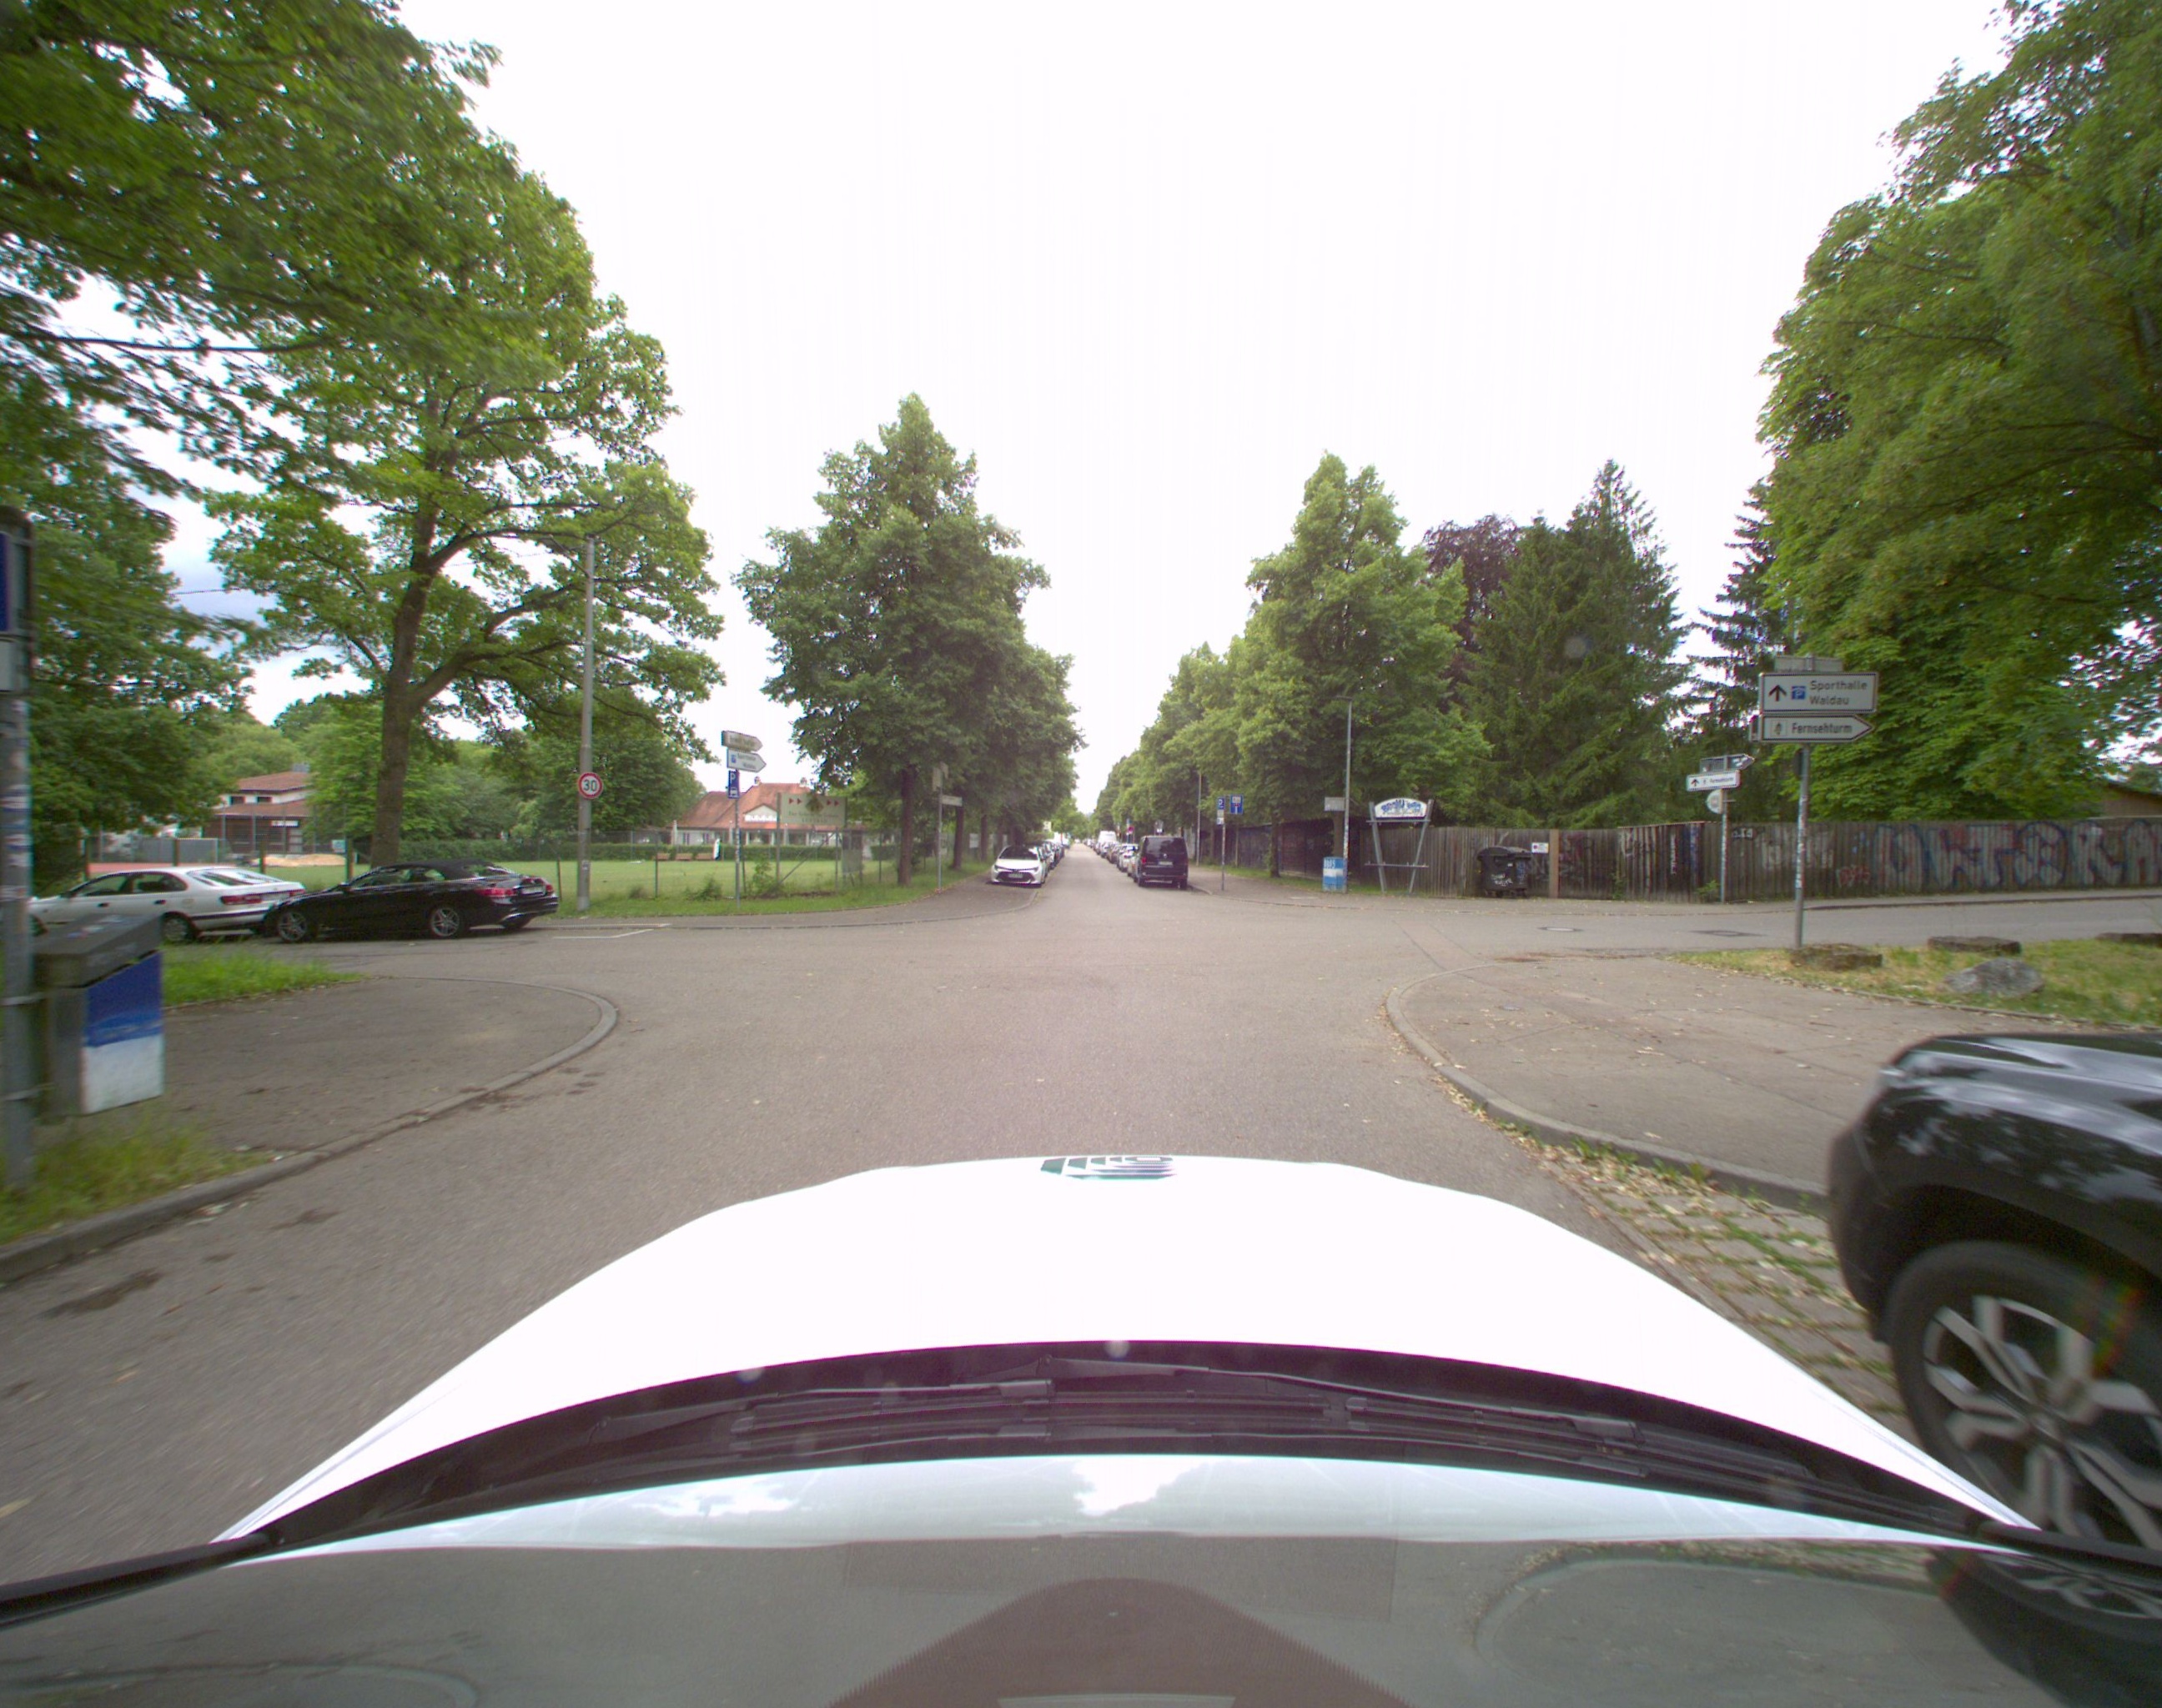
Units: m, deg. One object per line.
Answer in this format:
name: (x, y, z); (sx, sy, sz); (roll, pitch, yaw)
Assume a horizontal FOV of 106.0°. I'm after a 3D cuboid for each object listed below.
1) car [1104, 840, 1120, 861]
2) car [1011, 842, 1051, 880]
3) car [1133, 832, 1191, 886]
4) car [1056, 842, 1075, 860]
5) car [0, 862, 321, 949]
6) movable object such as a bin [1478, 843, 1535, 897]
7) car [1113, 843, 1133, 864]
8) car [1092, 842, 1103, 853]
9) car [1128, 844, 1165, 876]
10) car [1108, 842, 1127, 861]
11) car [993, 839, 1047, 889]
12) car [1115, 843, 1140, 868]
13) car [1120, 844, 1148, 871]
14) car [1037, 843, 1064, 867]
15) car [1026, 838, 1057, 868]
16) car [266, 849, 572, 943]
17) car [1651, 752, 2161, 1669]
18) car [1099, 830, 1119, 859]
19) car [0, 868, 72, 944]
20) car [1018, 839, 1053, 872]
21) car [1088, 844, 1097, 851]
car: (2.864, -0.357, 76.616); (1.464, 1.967, 3.190); (0, 0, 1)
car: (-2.071, 0.255, 34.467); (1.542, 1.455, 3.662); (3, 0, -2)
car: (3.141, 0.163, 32.314); (1.981, 2.013, 4.109); (0, 0, 1)
car: (-1.355, -0.272, 71.478); (1.589, 1.559, 3.191); (-2, 0, -2)
car: (-17.369, 0.930, 15.440); (4.194, 1.359, 1.691); (-2, 2, -1)
movable object such as a bin: (11.894, 0.432, 22.763); (1.293, 1.442, 1.065); (1, -1, -44)
car: (3.091, -0.062, 60.344); (1.464, 1.531, 3.190); (0, 0, 1)
car: (3.062, -1.220, 150.352); (1.985, 2.014, 4.004); (0, -1, 4)
car: (3.095, 0.245, 39.124); (1.591, 1.481, 3.522); (0, 0, 1)
car: (2.979, -0.225, 66.176); (1.464, 1.531, 3.190); (0, 0, 1)
car: (-2.139, 0.320, 29.697); (1.761, 1.596, 4.212); (2, 0, -2)
car: (2.942, 0.087, 51.504); (1.464, 1.531, 3.190); (0, 0, 1)
car: (2.983, 0.173, 46.241); (1.464, 1.481, 3.190); (0, 0, 1)
car: (-1.905, 0.055, 51.799); (1.589, 1.457, 3.191); (2, 0, -2)
car: (-2.274, -0.054, 47.442); (1.687, 1.596, 3.997); (2, 0, -2)
car: (-12.340, 0.748, 15.379); (4.296, 1.494, 1.773); (-2, 2, 2)
car: (2.779, 0.637, 0.588); (1.730, 1.633, 4.375); (0, 0, 1)
car: (3.091, -1.041, 89.973); (2.176, 3.015, 4.898); (0, 0, 1)
car: (-22.069, 1.057, 15.344); (3.844, 1.359, 1.691); (-2, 2, -1)
car: (-2.377, 0.062, 43.234); (1.687, 1.596, 3.997); (2, 0, -2)
car: (2.598, -1.445, 183.489); (1.890, 1.706, 4.067); (0, -1, 4)
